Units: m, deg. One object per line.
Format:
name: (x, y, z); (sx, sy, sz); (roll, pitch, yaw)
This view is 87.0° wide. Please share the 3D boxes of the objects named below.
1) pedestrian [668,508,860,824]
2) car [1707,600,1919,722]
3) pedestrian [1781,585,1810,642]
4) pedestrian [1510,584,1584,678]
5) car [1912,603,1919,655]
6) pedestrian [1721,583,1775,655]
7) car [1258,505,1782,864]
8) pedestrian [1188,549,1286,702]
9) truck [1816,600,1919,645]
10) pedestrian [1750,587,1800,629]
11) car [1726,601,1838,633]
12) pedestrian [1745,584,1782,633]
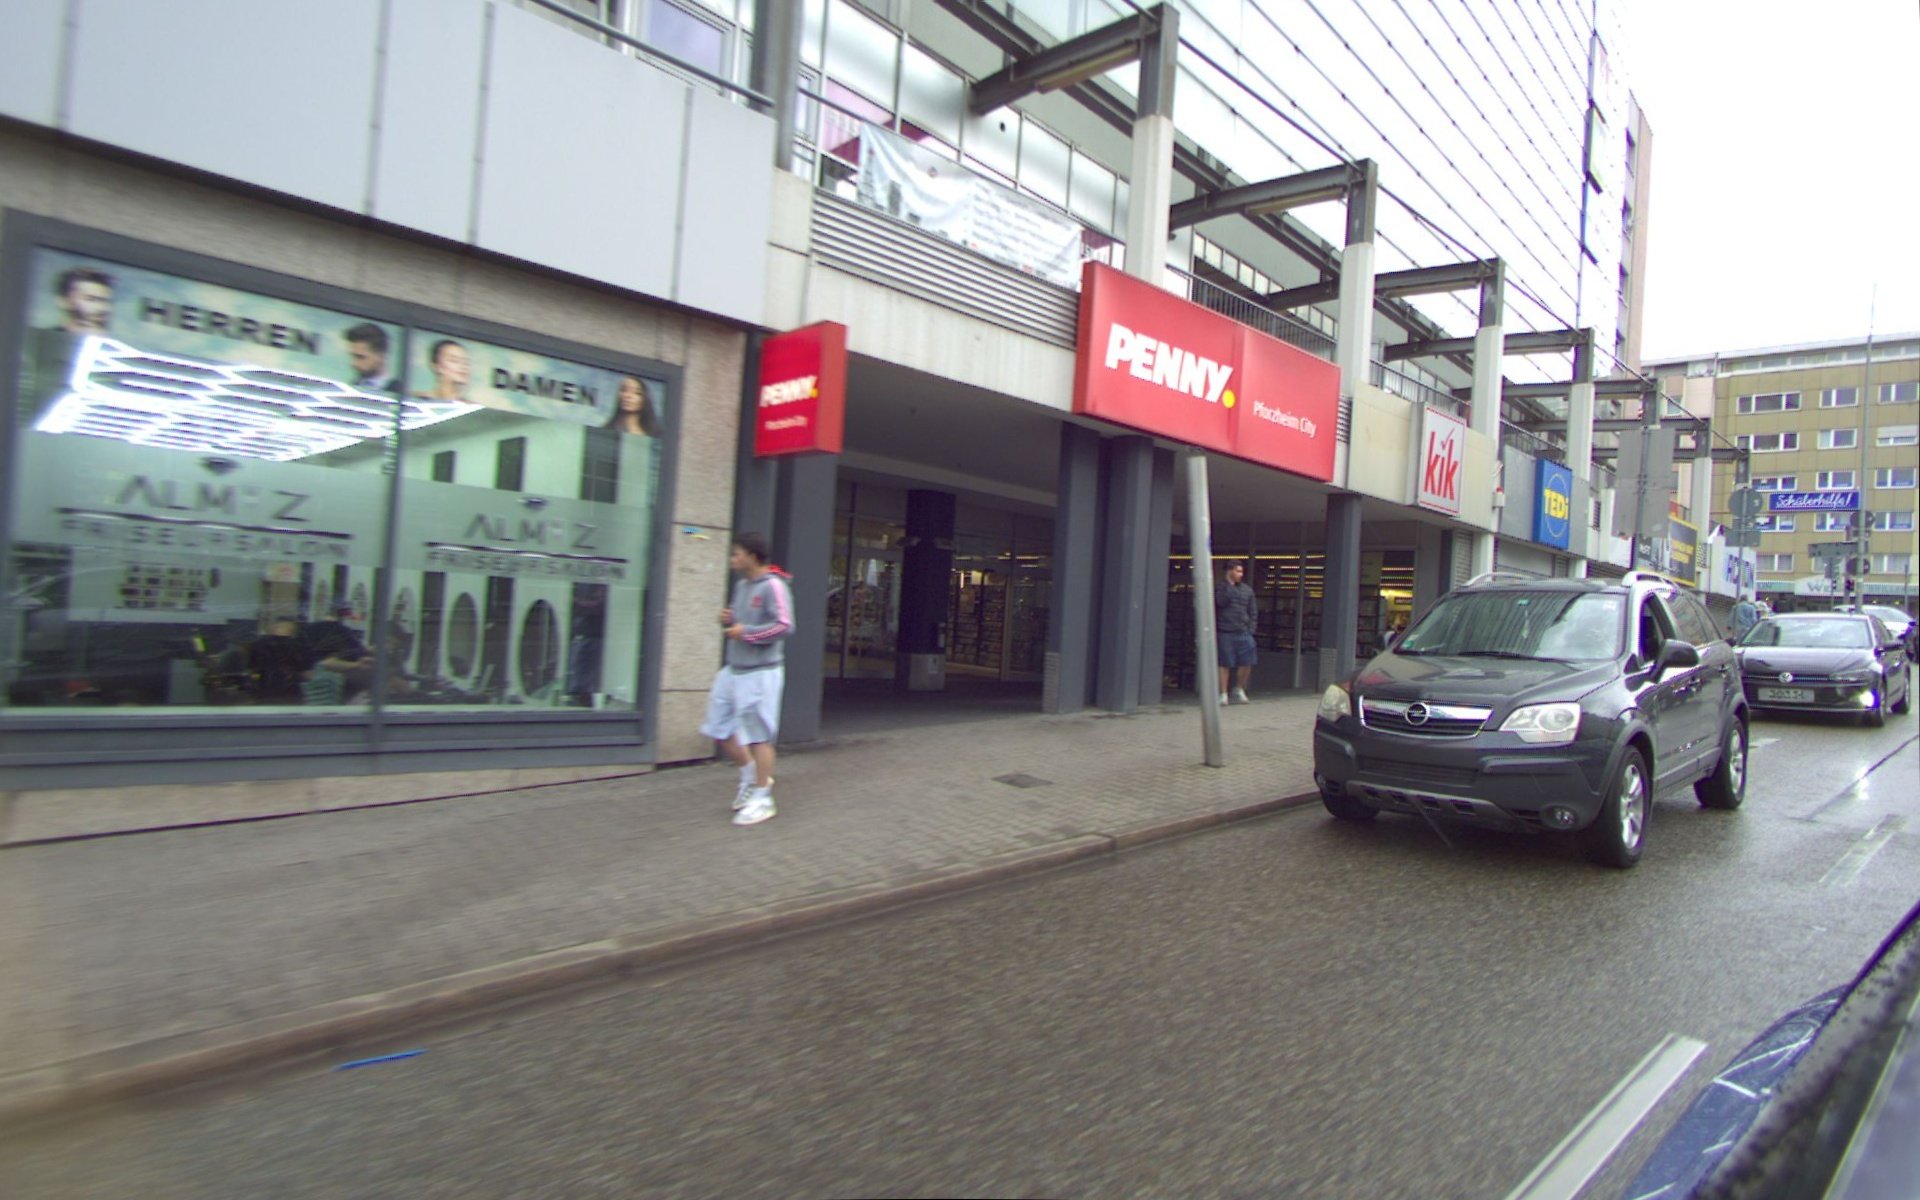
pedestrian: (-1.206, 0.356, 6.161); (0.813, 1.744, 0.839); (2, 1, -34)
car: (11.925, 0.753, 13.965); (3.811, 1.449, 1.741); (1, -2, -40)
pedestrian: (27.993, 0.455, 33.905); (0.599, 1.863, 0.995); (4, 1, 45)
pedestrian: (9.728, 0.500, 16.782); (0.690, 1.485, 0.775); (2, 1, -34)
car: (29.673, 0.907, 29.926); (1.864, 1.566, 4.045); (4, 1, 39)
pedestrian: (19.769, 0.476, 25.388); (0.605, 1.744, 0.839); (2, 1, -34)
car: (4.160, 0.516, 7.230); (4.225, 1.809, 1.910); (2, -4, -41)
pedestrian: (3.290, 0.283, 12.051); (0.658, 1.736, 0.818); (2, 1, -35)
truck: (34.742, 0.822, 38.009); (1.822, 1.560, 3.997); (2, 1, 3)
pedestrian: (32.607, 0.321, 40.522); (1.042, 1.549, 1.025); (5, 3, 10)
car: (45.046, 0.931, 55.518); (4.619, 1.433, 1.769); (4, 0, 45)
pedestrian: (33.125, 0.356, 41.741); (0.605, 1.888, 0.789); (8, 2, -29)
